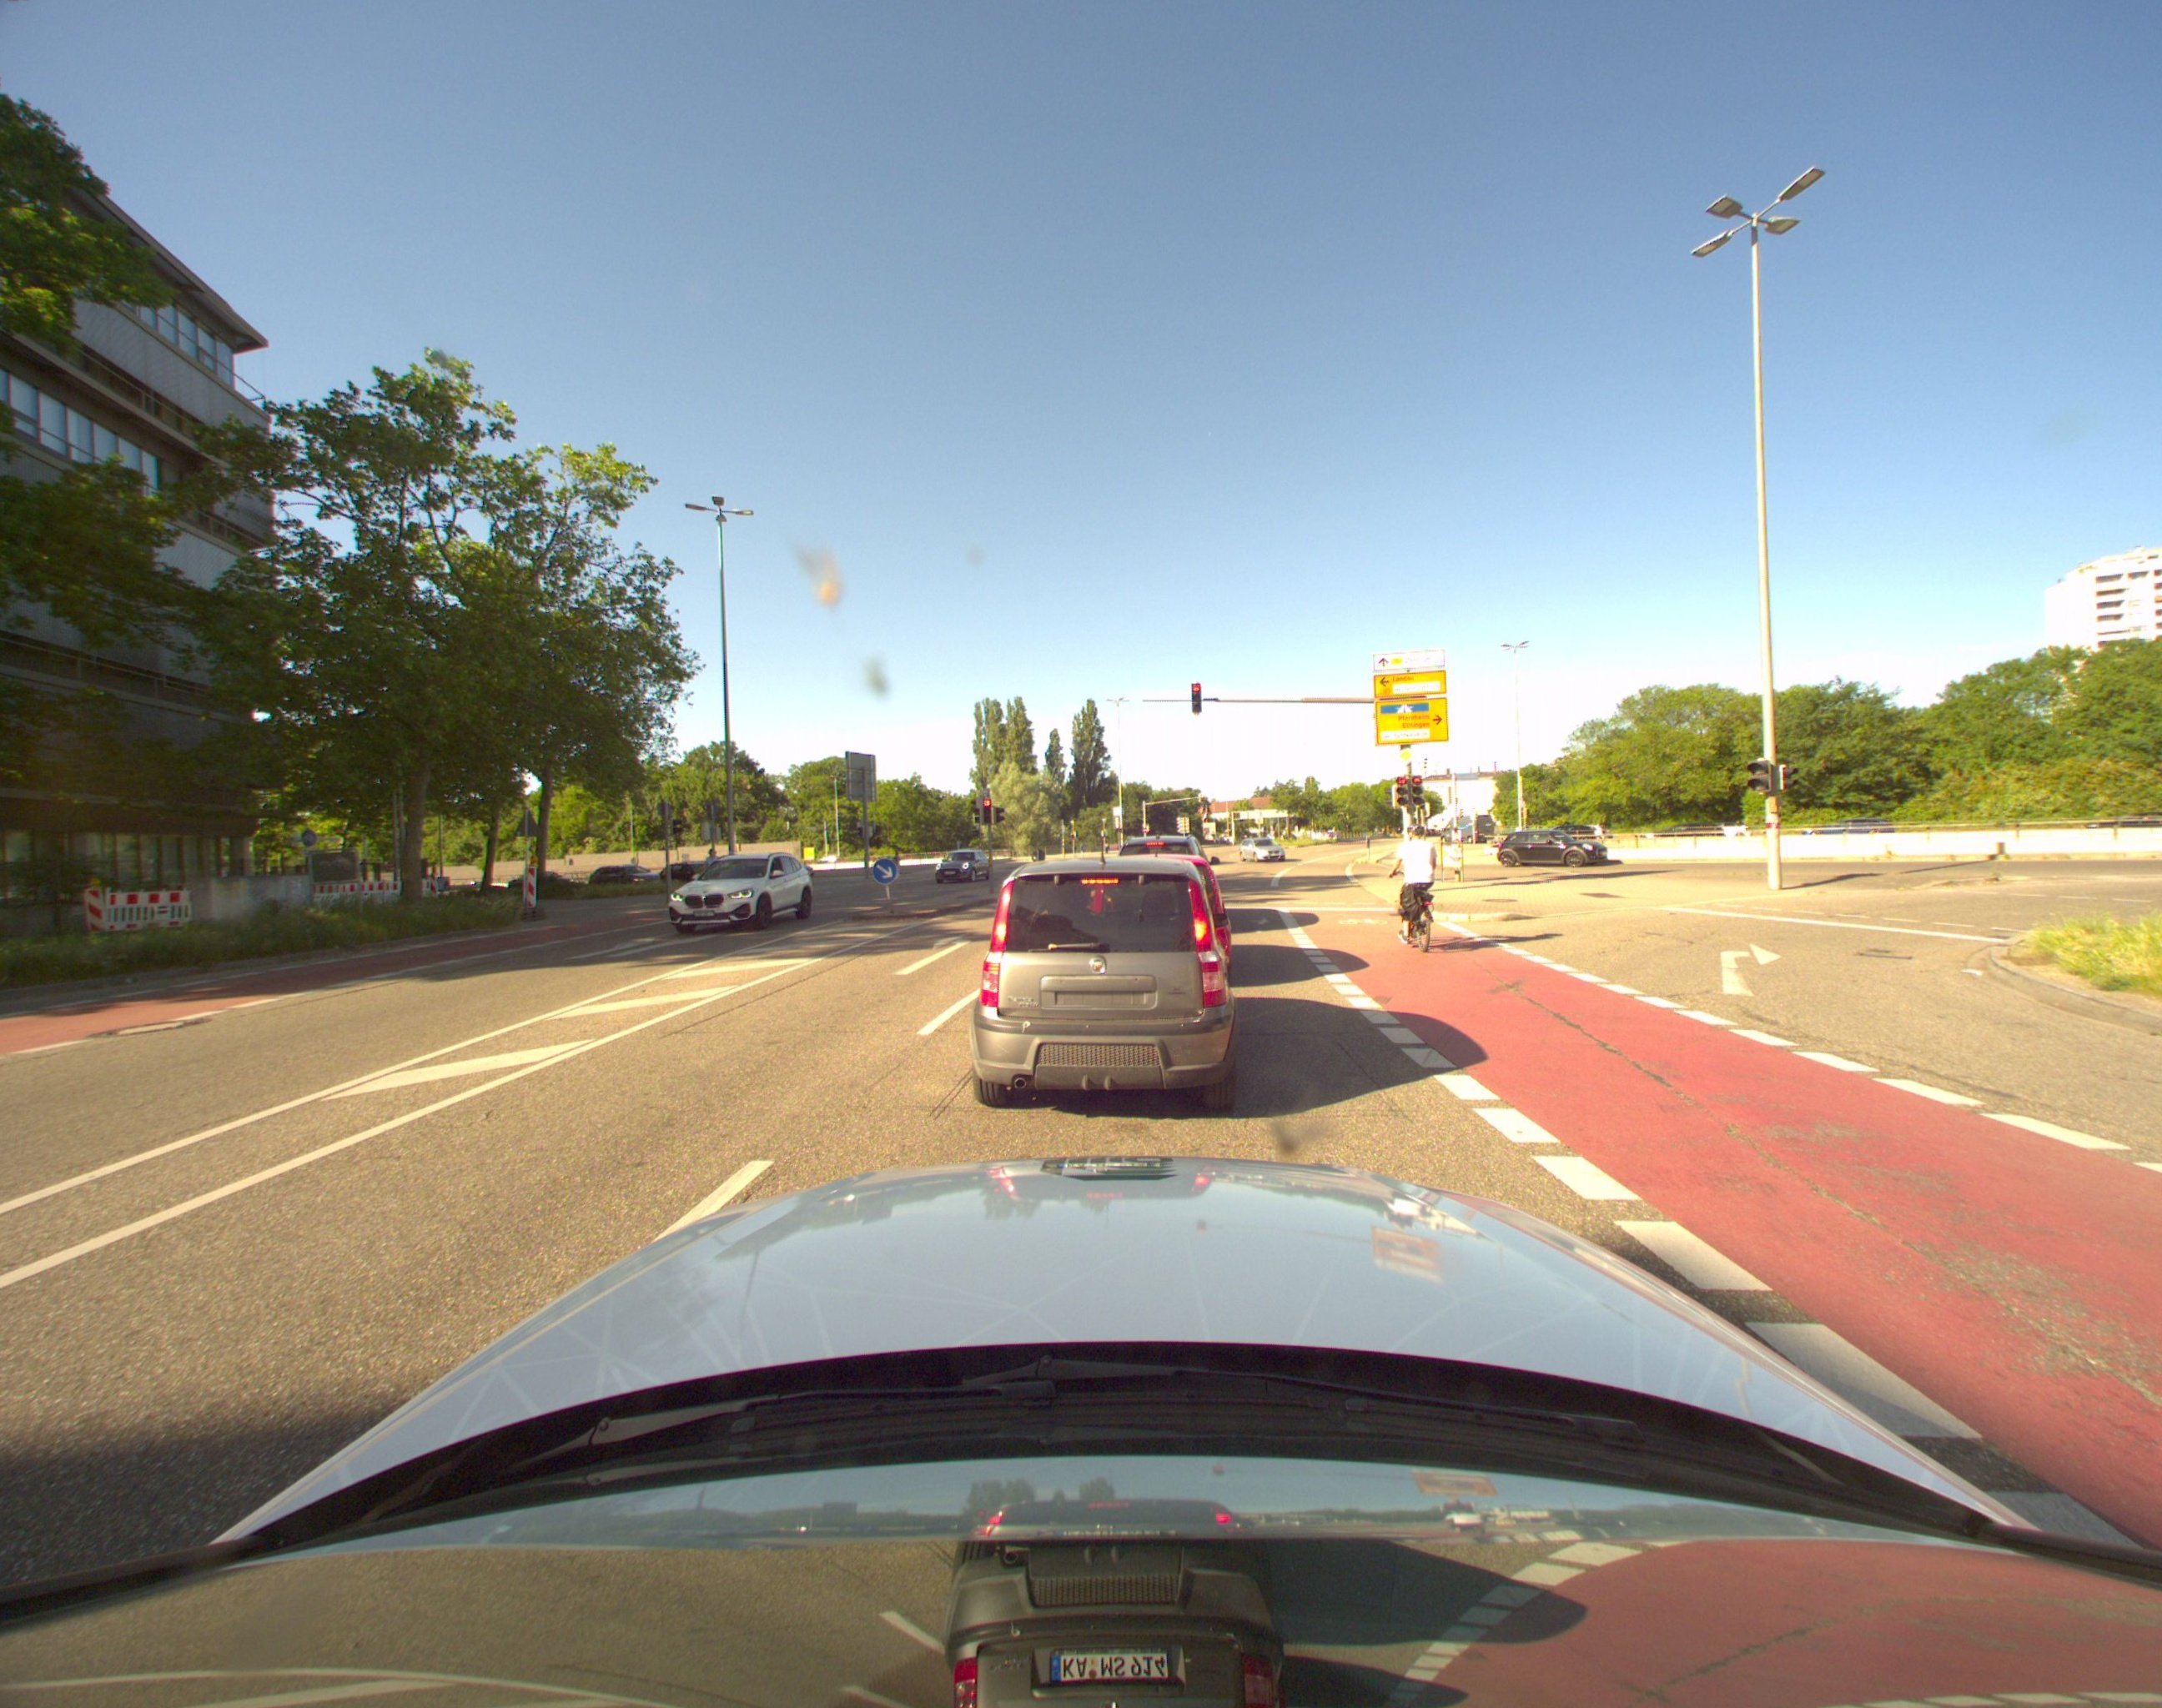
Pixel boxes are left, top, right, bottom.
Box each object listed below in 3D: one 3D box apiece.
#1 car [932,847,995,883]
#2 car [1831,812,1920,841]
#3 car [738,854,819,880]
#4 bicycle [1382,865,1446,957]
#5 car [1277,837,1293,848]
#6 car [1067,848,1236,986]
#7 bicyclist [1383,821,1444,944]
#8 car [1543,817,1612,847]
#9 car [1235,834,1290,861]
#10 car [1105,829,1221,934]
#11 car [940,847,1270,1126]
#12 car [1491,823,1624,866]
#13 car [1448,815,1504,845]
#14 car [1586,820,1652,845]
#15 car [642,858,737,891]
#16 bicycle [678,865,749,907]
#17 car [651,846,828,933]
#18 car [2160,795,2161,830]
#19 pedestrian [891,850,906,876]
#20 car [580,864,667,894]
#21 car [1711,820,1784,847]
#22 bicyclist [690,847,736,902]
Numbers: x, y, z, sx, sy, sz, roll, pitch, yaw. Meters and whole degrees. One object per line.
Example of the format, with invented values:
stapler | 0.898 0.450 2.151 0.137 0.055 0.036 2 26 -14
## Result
car | -5.317 0.450 37.366 1.676 1.456 3.924 -2 1 9
car | 53.108 -1.808 54.547 3.948 1.662 2.013 -2 -2 35
car | -18.863 0.802 50.783 4.402 1.438 1.834 -2 0 16
bicycle | 4.872 0.765 11.946 0.792 1.110 2.415 0 1 22
car | 41.145 -2.291 164.046 1.994 1.855 4.457 -2 -2 28
car | 0.925 0.675 10.817 1.811 1.479 4.005 0 0 5
bicyclist | 4.873 0.388 11.952 0.792 1.705 1.091 0 1 22
car | 36.394 -1.574 59.733 3.948 2.014 2.012 -2 -2 40
car | 10.824 -0.410 48.873 1.750 1.493 4.336 -2 2 -9
car | 1.771 0.434 16.181 1.857 1.790 4.428 0 1 11
car | 0.311 0.701 6.472 1.811 1.489 4.006 0 1 5
car | 18.465 -0.351 31.680 2.010 1.453 3.953 -3 0 -40
car | 37.377 -2.223 77.208 2.255 2.607 4.867 -1 -2 -11
car | 42.831 -1.685 64.882 2.010 1.750 3.952 0 -2 -41
car | -19.641 1.016 40.861 4.396 1.438 1.836 -2 1 24
bicycle | -11.954 1.017 26.592 0.681 1.202 2.337 -2 1 16
car | -7.499 0.735 18.467 1.826 1.653 4.631 -3 -1 2
car | 30.538 -0.751 20.066 4.303 1.836 2.013 -2 -2 36
pedestrian | -11.510 0.581 51.412 0.684 1.538 1.365 -1 -5 0
car | -24.958 1.364 44.419 4.396 1.438 1.836 -2 1 24
car | 48.170 -1.444 58.883 3.949 1.684 1.868 -3 -2 42
bicyclist | -11.982 0.658 26.550 0.681 1.701 1.203 -2 0 16
